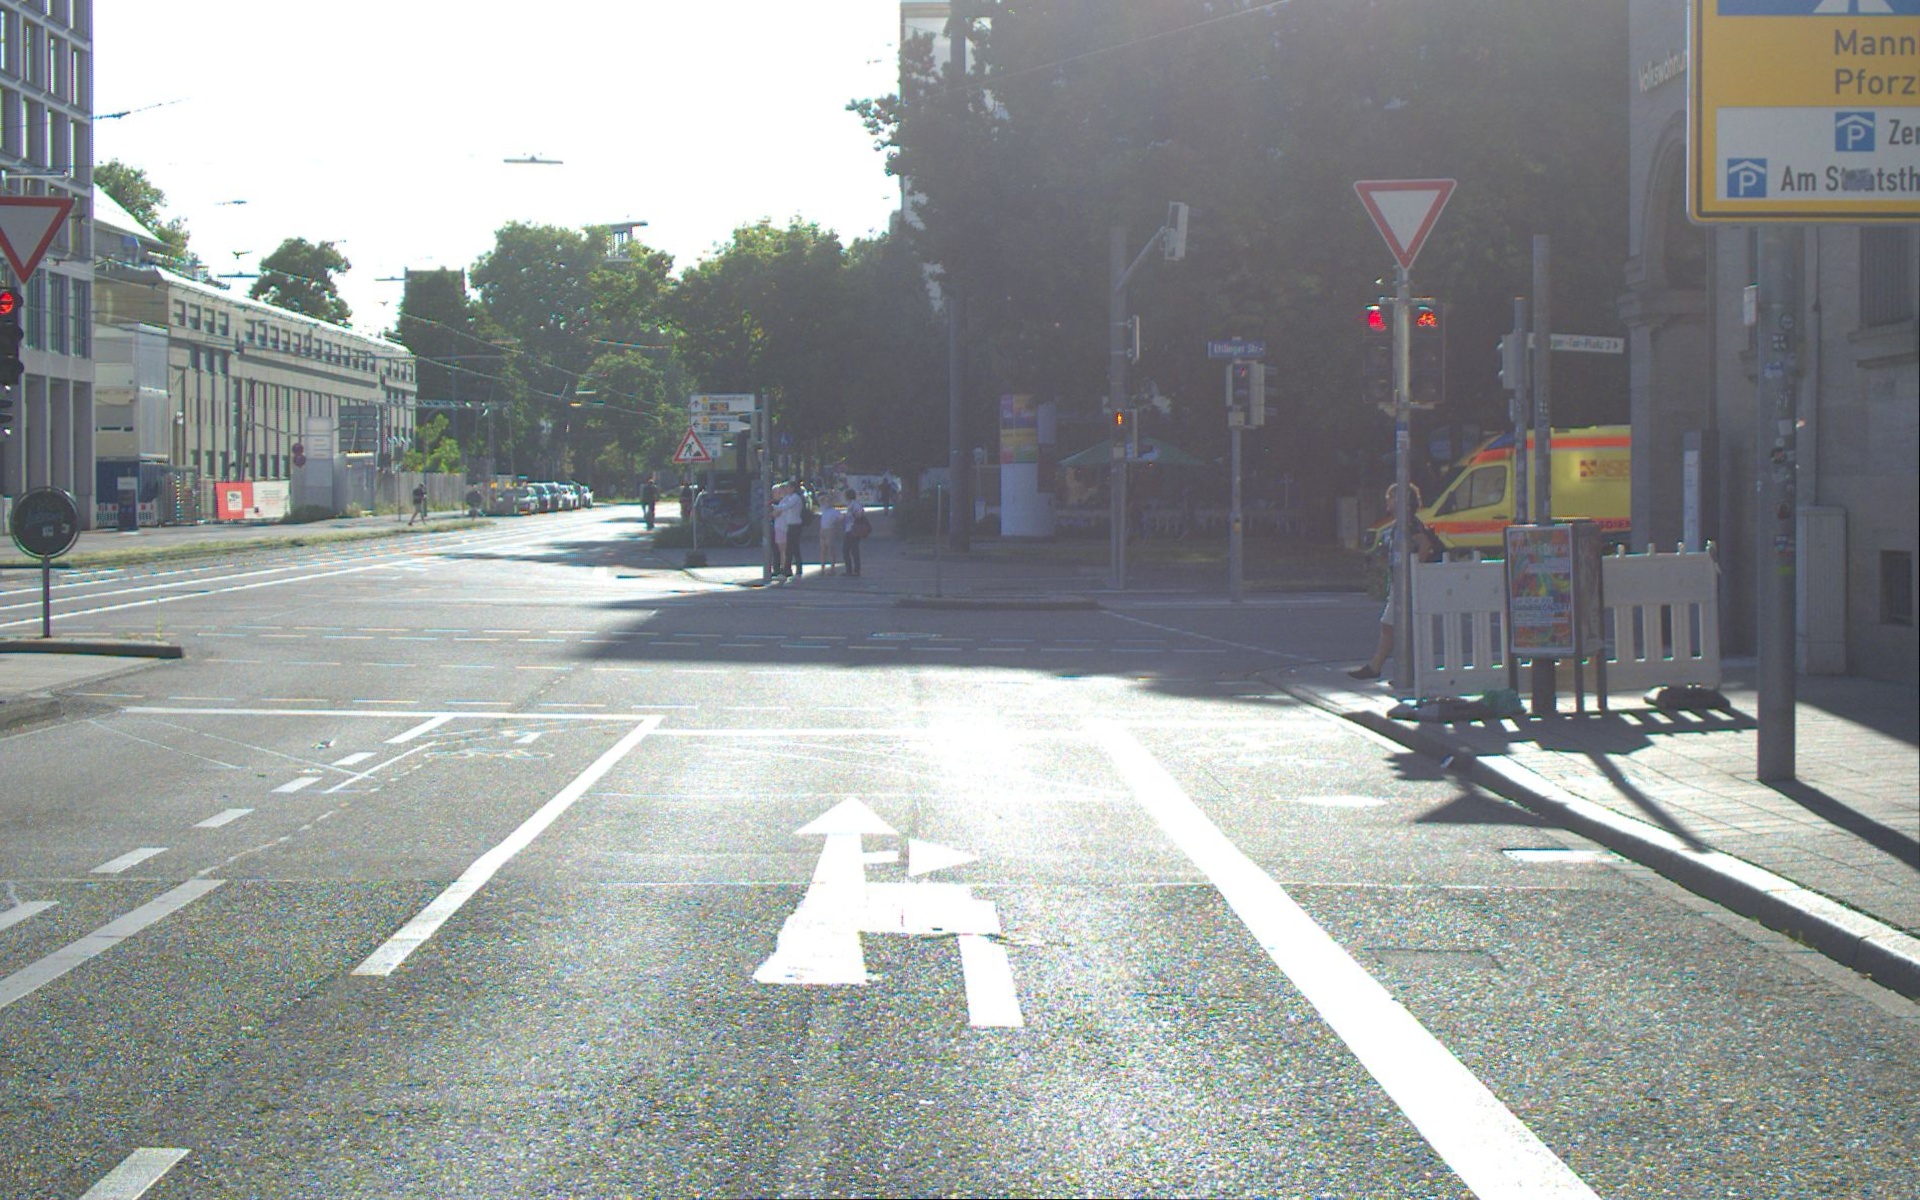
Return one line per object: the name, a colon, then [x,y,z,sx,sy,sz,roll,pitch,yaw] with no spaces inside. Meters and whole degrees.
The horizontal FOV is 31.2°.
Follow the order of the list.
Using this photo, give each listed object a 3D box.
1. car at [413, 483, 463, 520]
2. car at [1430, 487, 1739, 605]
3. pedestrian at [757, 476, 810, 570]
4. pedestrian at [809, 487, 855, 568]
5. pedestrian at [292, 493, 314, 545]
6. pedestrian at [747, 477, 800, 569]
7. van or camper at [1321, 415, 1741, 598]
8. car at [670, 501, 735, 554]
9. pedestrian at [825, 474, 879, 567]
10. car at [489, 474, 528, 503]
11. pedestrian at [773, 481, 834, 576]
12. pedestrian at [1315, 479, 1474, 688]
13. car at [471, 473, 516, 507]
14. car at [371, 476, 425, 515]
car: [-24.839,-4.701,163.644,1.819,1.706,3.806,0,2,-1]
car: [9.493,-0.829,52.460,4.314,1.641,1.888,2,1,0]
pedestrian: [-3.395,-1.485,66.159,0.847,1.778,0.780,-1,2,-17]
pedestrian: [-2.480,-1.410,66.682,0.762,1.553,0.588,-1,2,-17]
pedestrian: [-17.079,-2.107,89.396,0.511,1.324,0.369,0,1,1]
pedestrian: [-3.634,-1.501,66.957,0.847,1.778,0.780,-1,2,-17]
van or camper: [9.601,-1.572,58.422,6.709,2.851,2.910,2,1,4]
car: [-7.640,-2.144,102.281,1.684,1.495,3.509,2,1,-1]
pedestrian: [-2.071,-1.525,65.826,0.847,1.778,0.780,-1,2,-17]
car: [-23.596,-5.840,179.671,1.609,1.493,3.806,0,2,-1]
pedestrian: [-2.944,-1.349,64.697,0.965,1.778,0.780,-1,2,-17]
pedestrian: [3.647,-0.153,28.933,1.039,1.715,1.035,-1,2,-12]
car: [-23.819,-5.619,175.551,1.819,1.706,3.806,0,2,-1]
car: [-24.977,-4.663,152.968,1.819,1.706,3.806,0,2,-1]
